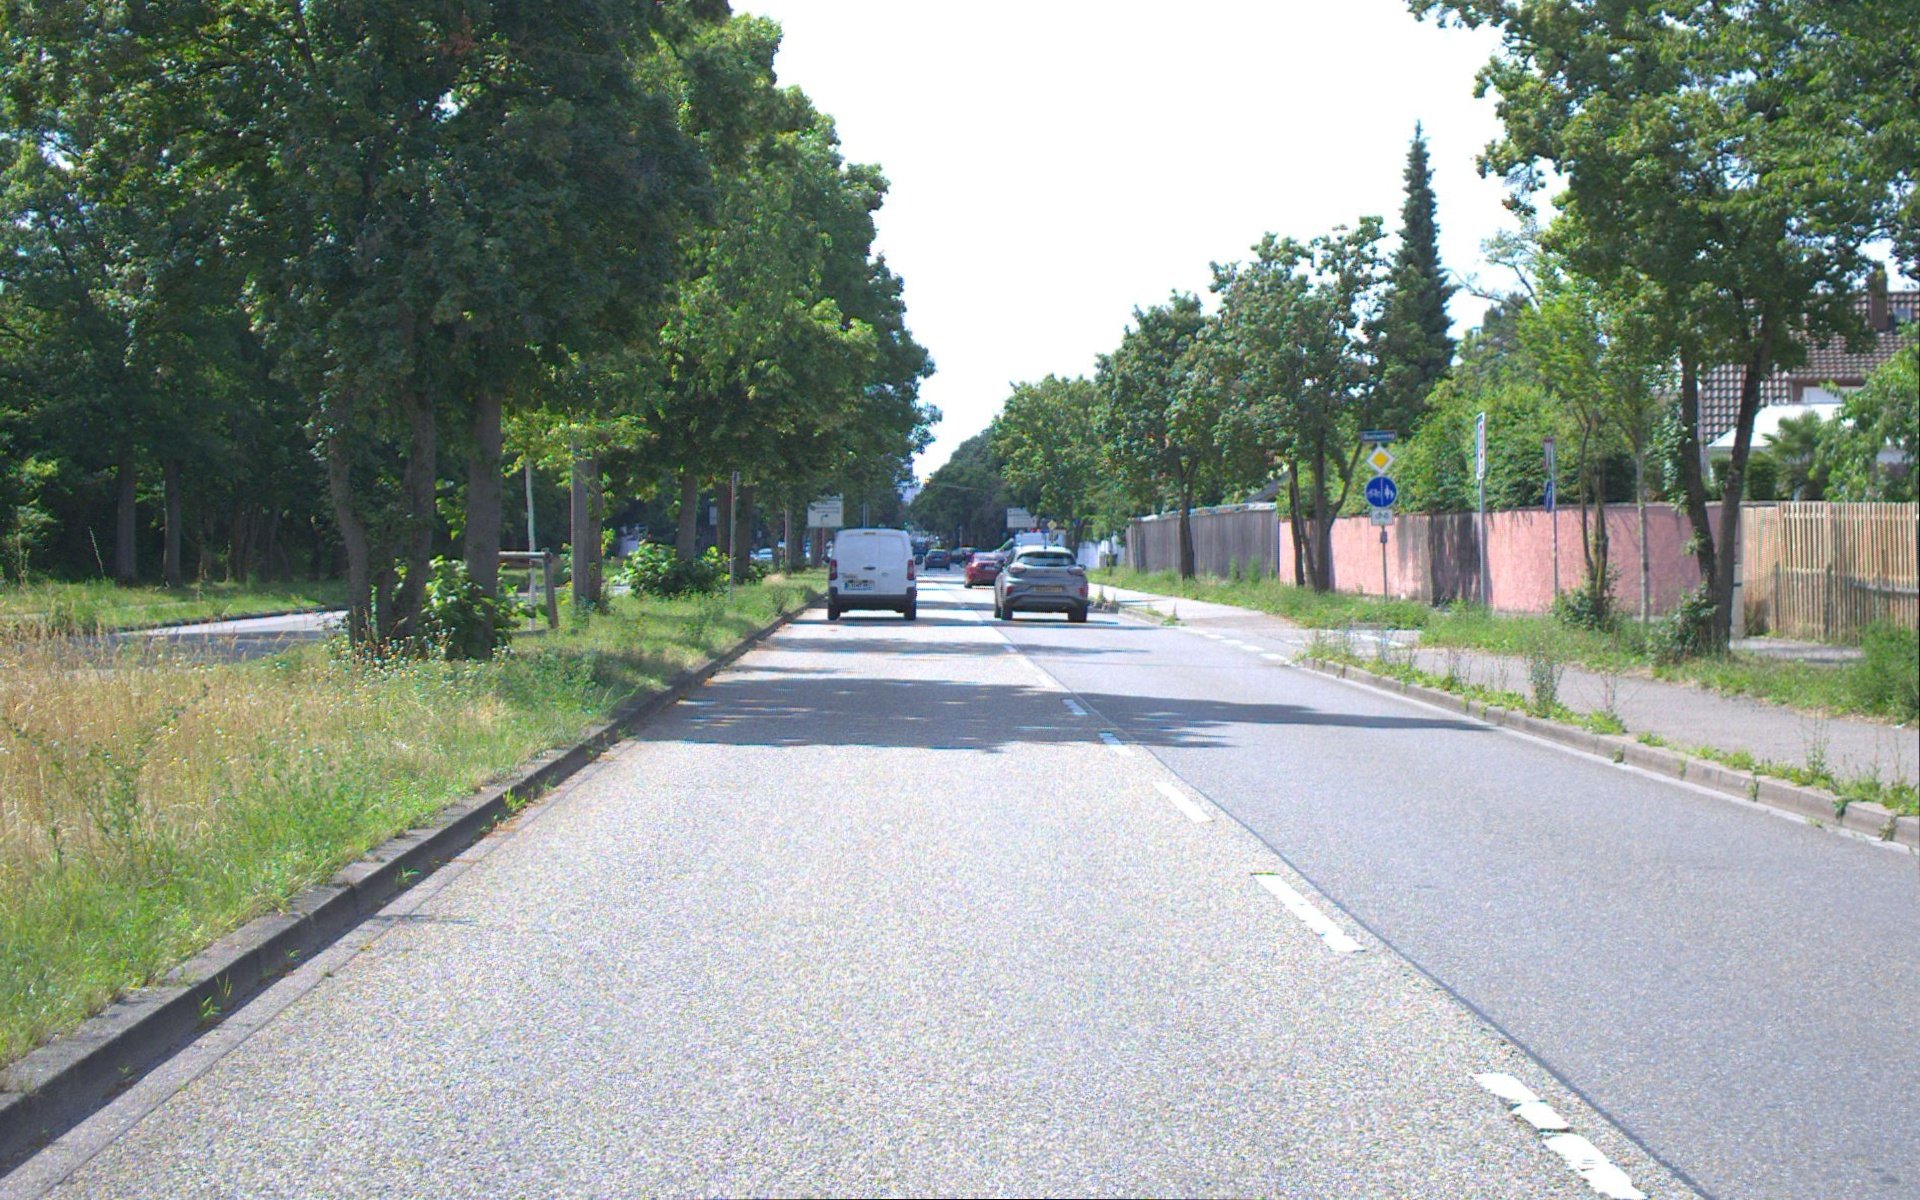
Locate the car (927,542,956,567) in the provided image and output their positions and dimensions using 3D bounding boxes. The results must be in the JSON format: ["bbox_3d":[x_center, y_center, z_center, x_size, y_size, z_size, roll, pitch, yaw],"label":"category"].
[{"bbox_3d":[-1.351,-3.319,251.613,1.993,1.766,4.147,2,1,-1],"label":"car"}]

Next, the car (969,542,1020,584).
[{"bbox_3d":[1.338,-1.437,134.029,1.880,1.581,4.000,0,1,-1],"label":"car"}]

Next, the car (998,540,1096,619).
[{"bbox_3d":[1.763,-0.449,71.072,1.875,1.583,4.185,0,1,-1],"label":"car"}]

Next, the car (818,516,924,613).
[{"bbox_3d":[-1.789,-0.754,70.181,2.066,1.905,4.647,0,1,-1],"label":"car"}]
